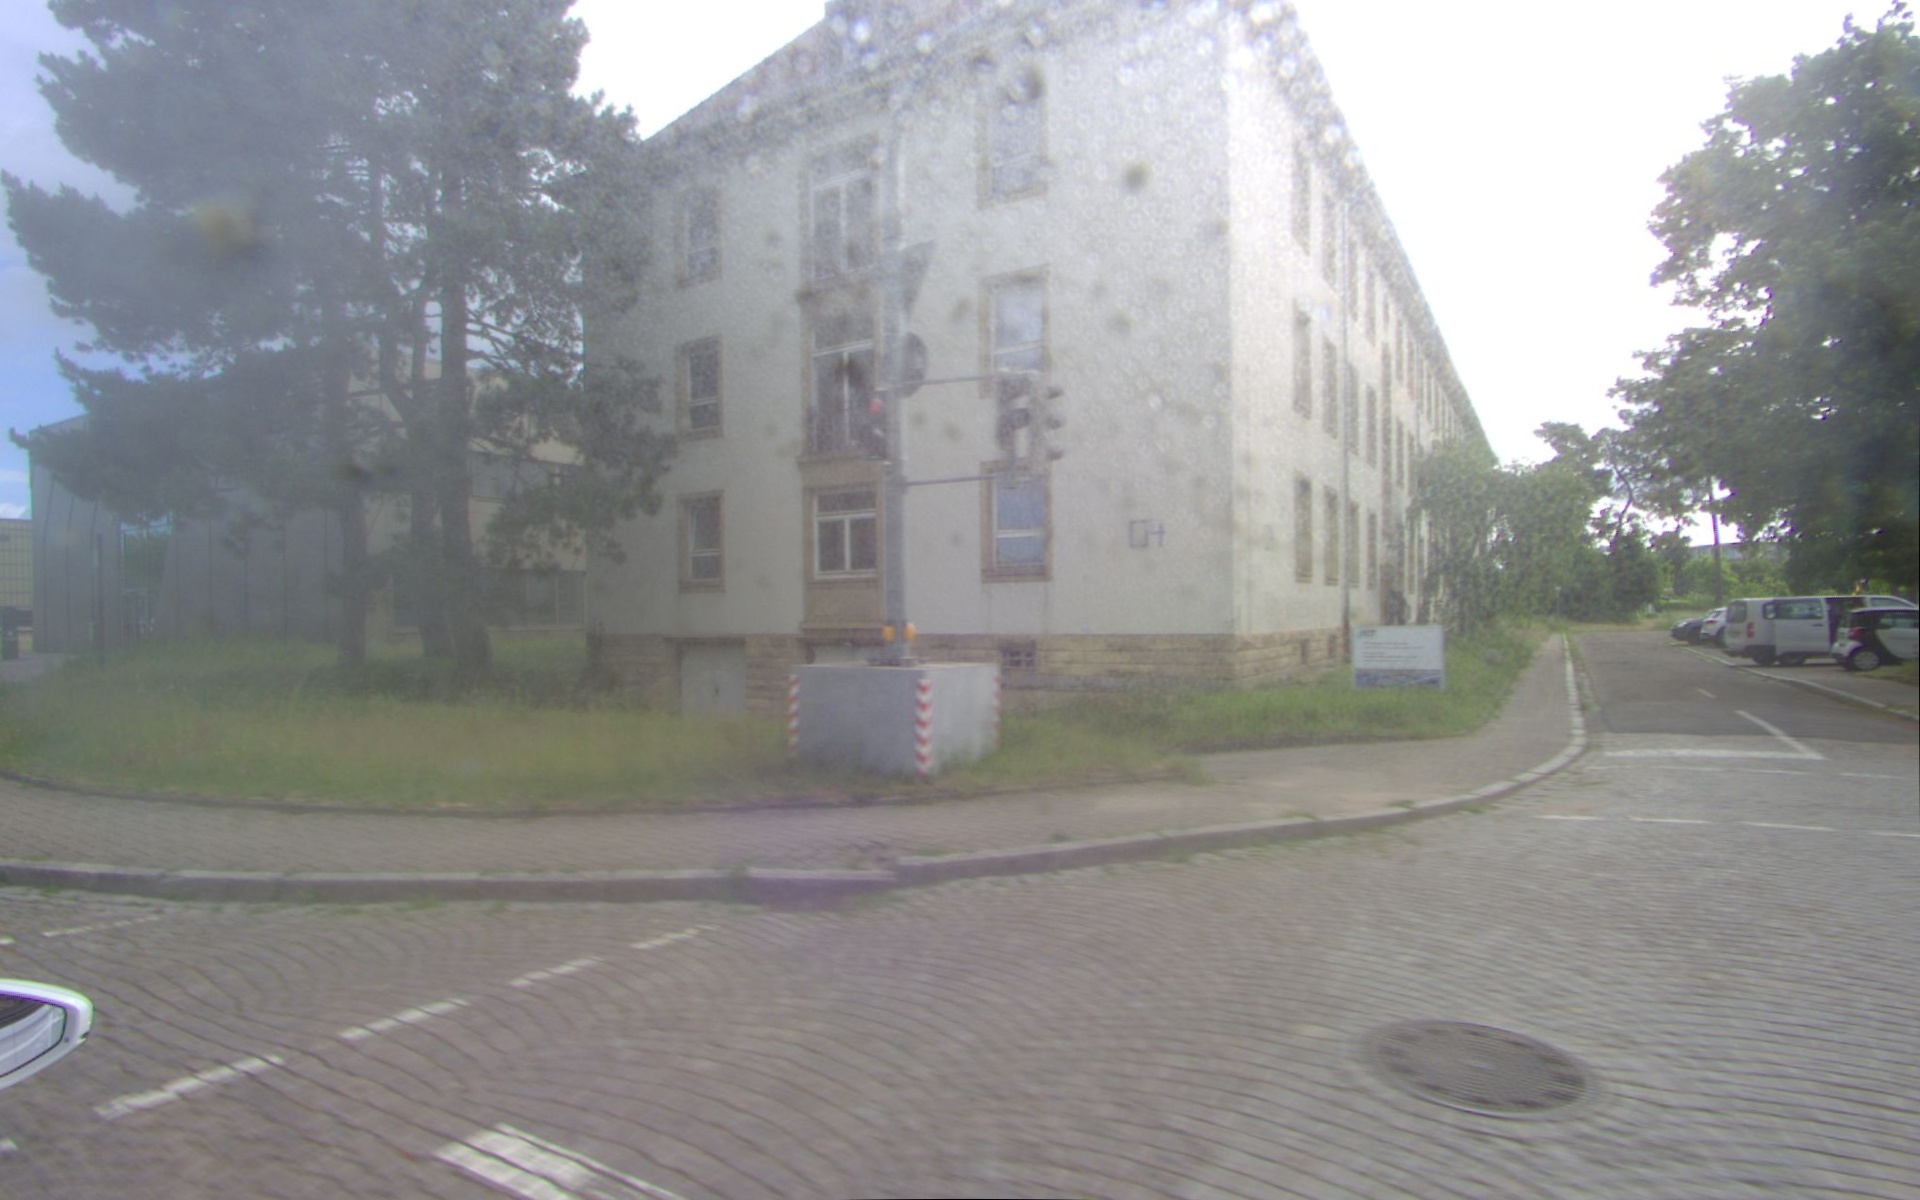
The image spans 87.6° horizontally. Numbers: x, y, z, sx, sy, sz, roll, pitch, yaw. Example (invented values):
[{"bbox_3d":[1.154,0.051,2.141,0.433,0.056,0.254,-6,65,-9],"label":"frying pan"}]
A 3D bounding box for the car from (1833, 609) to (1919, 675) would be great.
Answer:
[{"bbox_3d":[23.474,0.976,23.802,3.876,1.550,1.852,-1,0,34],"label":"car"}]

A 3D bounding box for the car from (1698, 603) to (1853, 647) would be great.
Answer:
[{"bbox_3d":[31.611,0.968,39.010,4.452,1.639,1.990,-1,-1,32],"label":"car"}]

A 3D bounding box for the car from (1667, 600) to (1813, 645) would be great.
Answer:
[{"bbox_3d":[32.654,0.939,42.117,4.629,1.796,1.990,-1,-1,32],"label":"car"}]

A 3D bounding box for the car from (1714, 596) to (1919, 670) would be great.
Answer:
[{"bbox_3d":[23.937,0.875,27.405,4.774,1.935,2.237,0,0,16],"label":"car"}]
